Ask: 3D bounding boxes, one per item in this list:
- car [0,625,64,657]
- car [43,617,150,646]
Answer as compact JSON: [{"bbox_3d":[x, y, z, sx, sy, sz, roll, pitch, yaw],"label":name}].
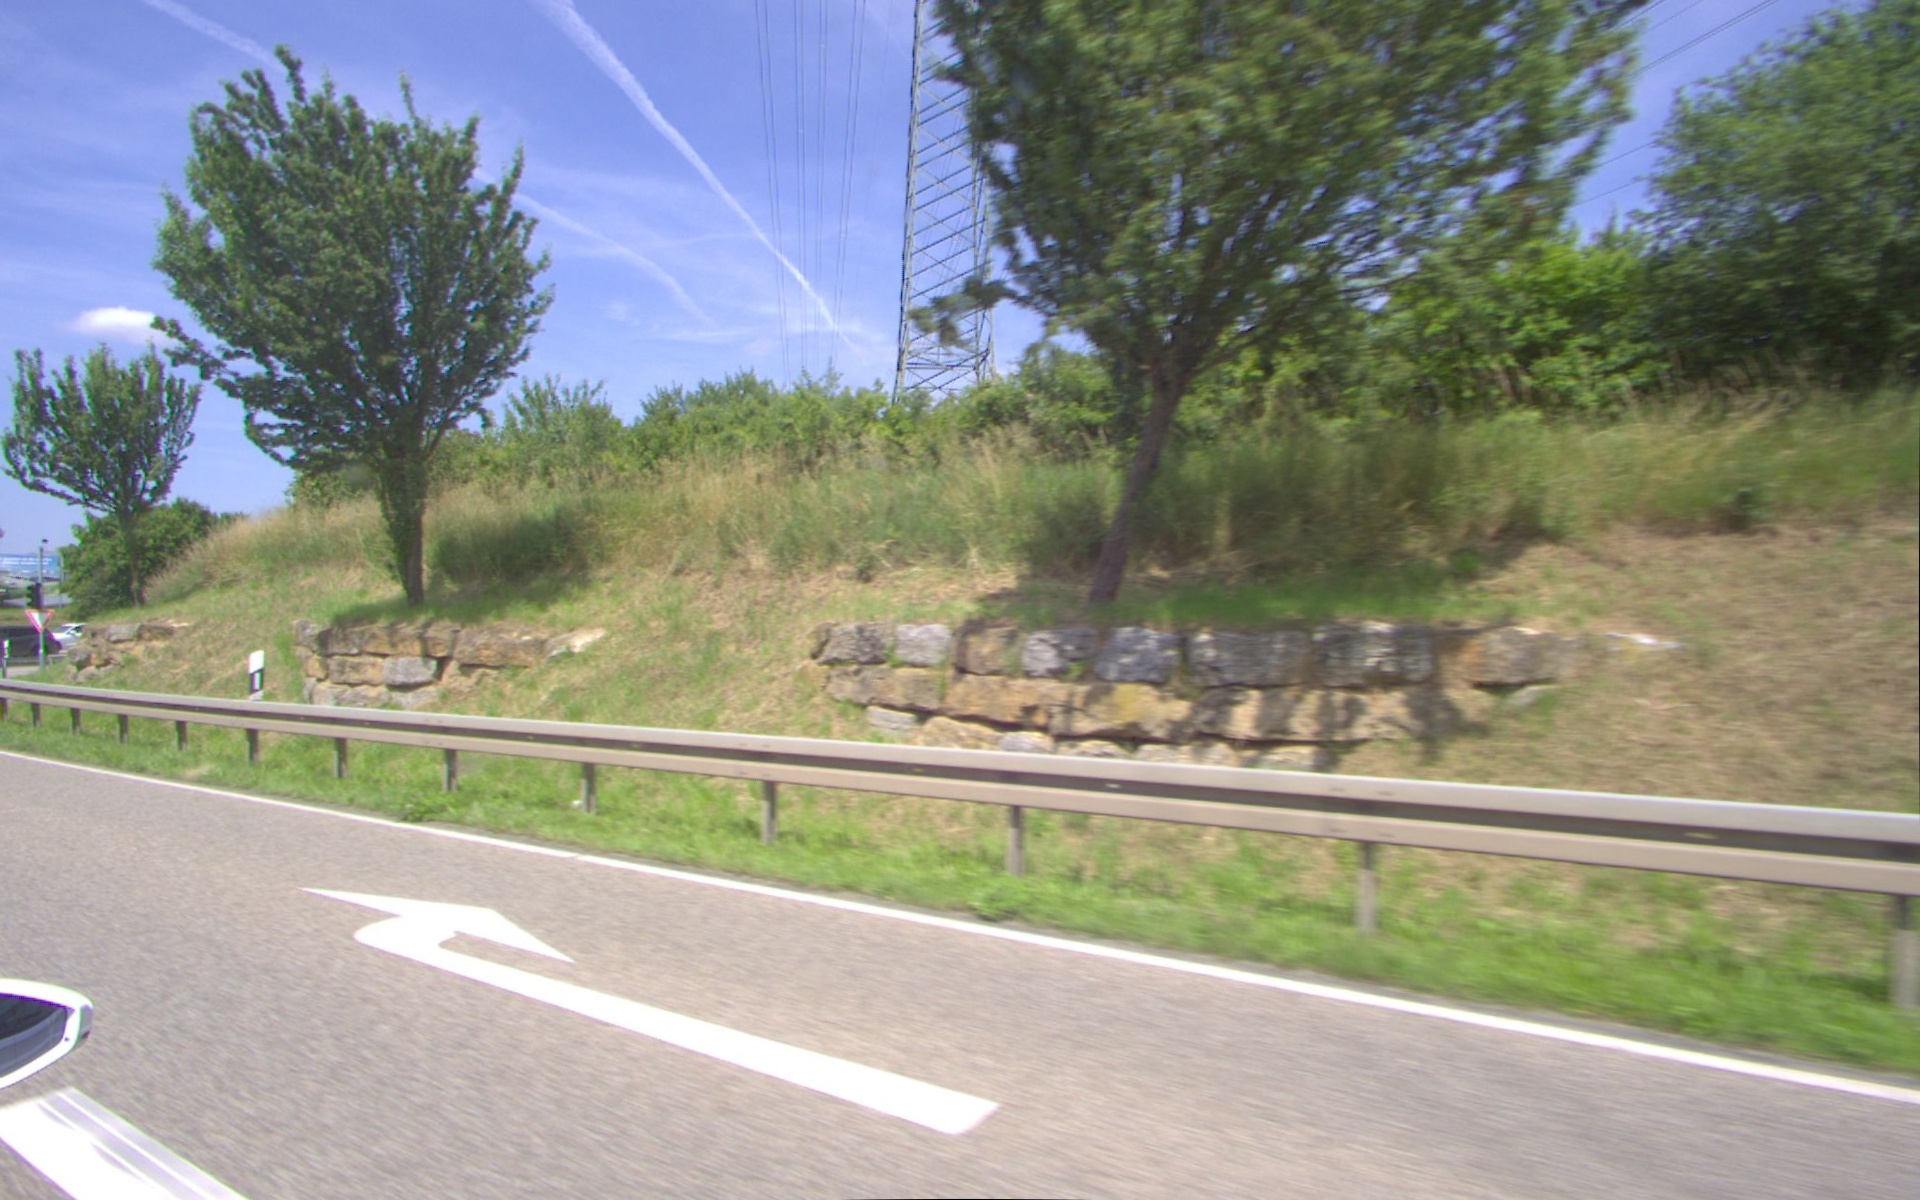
[{"bbox_3d":[-46.277,1.981,48.214,1.687,1.530,4.362,-1,-1,22],"label":"car"},{"bbox_3d":[-49.703,1.799,57.756,1.751,1.613,4.359,-1,-1,24],"label":"car"}]
